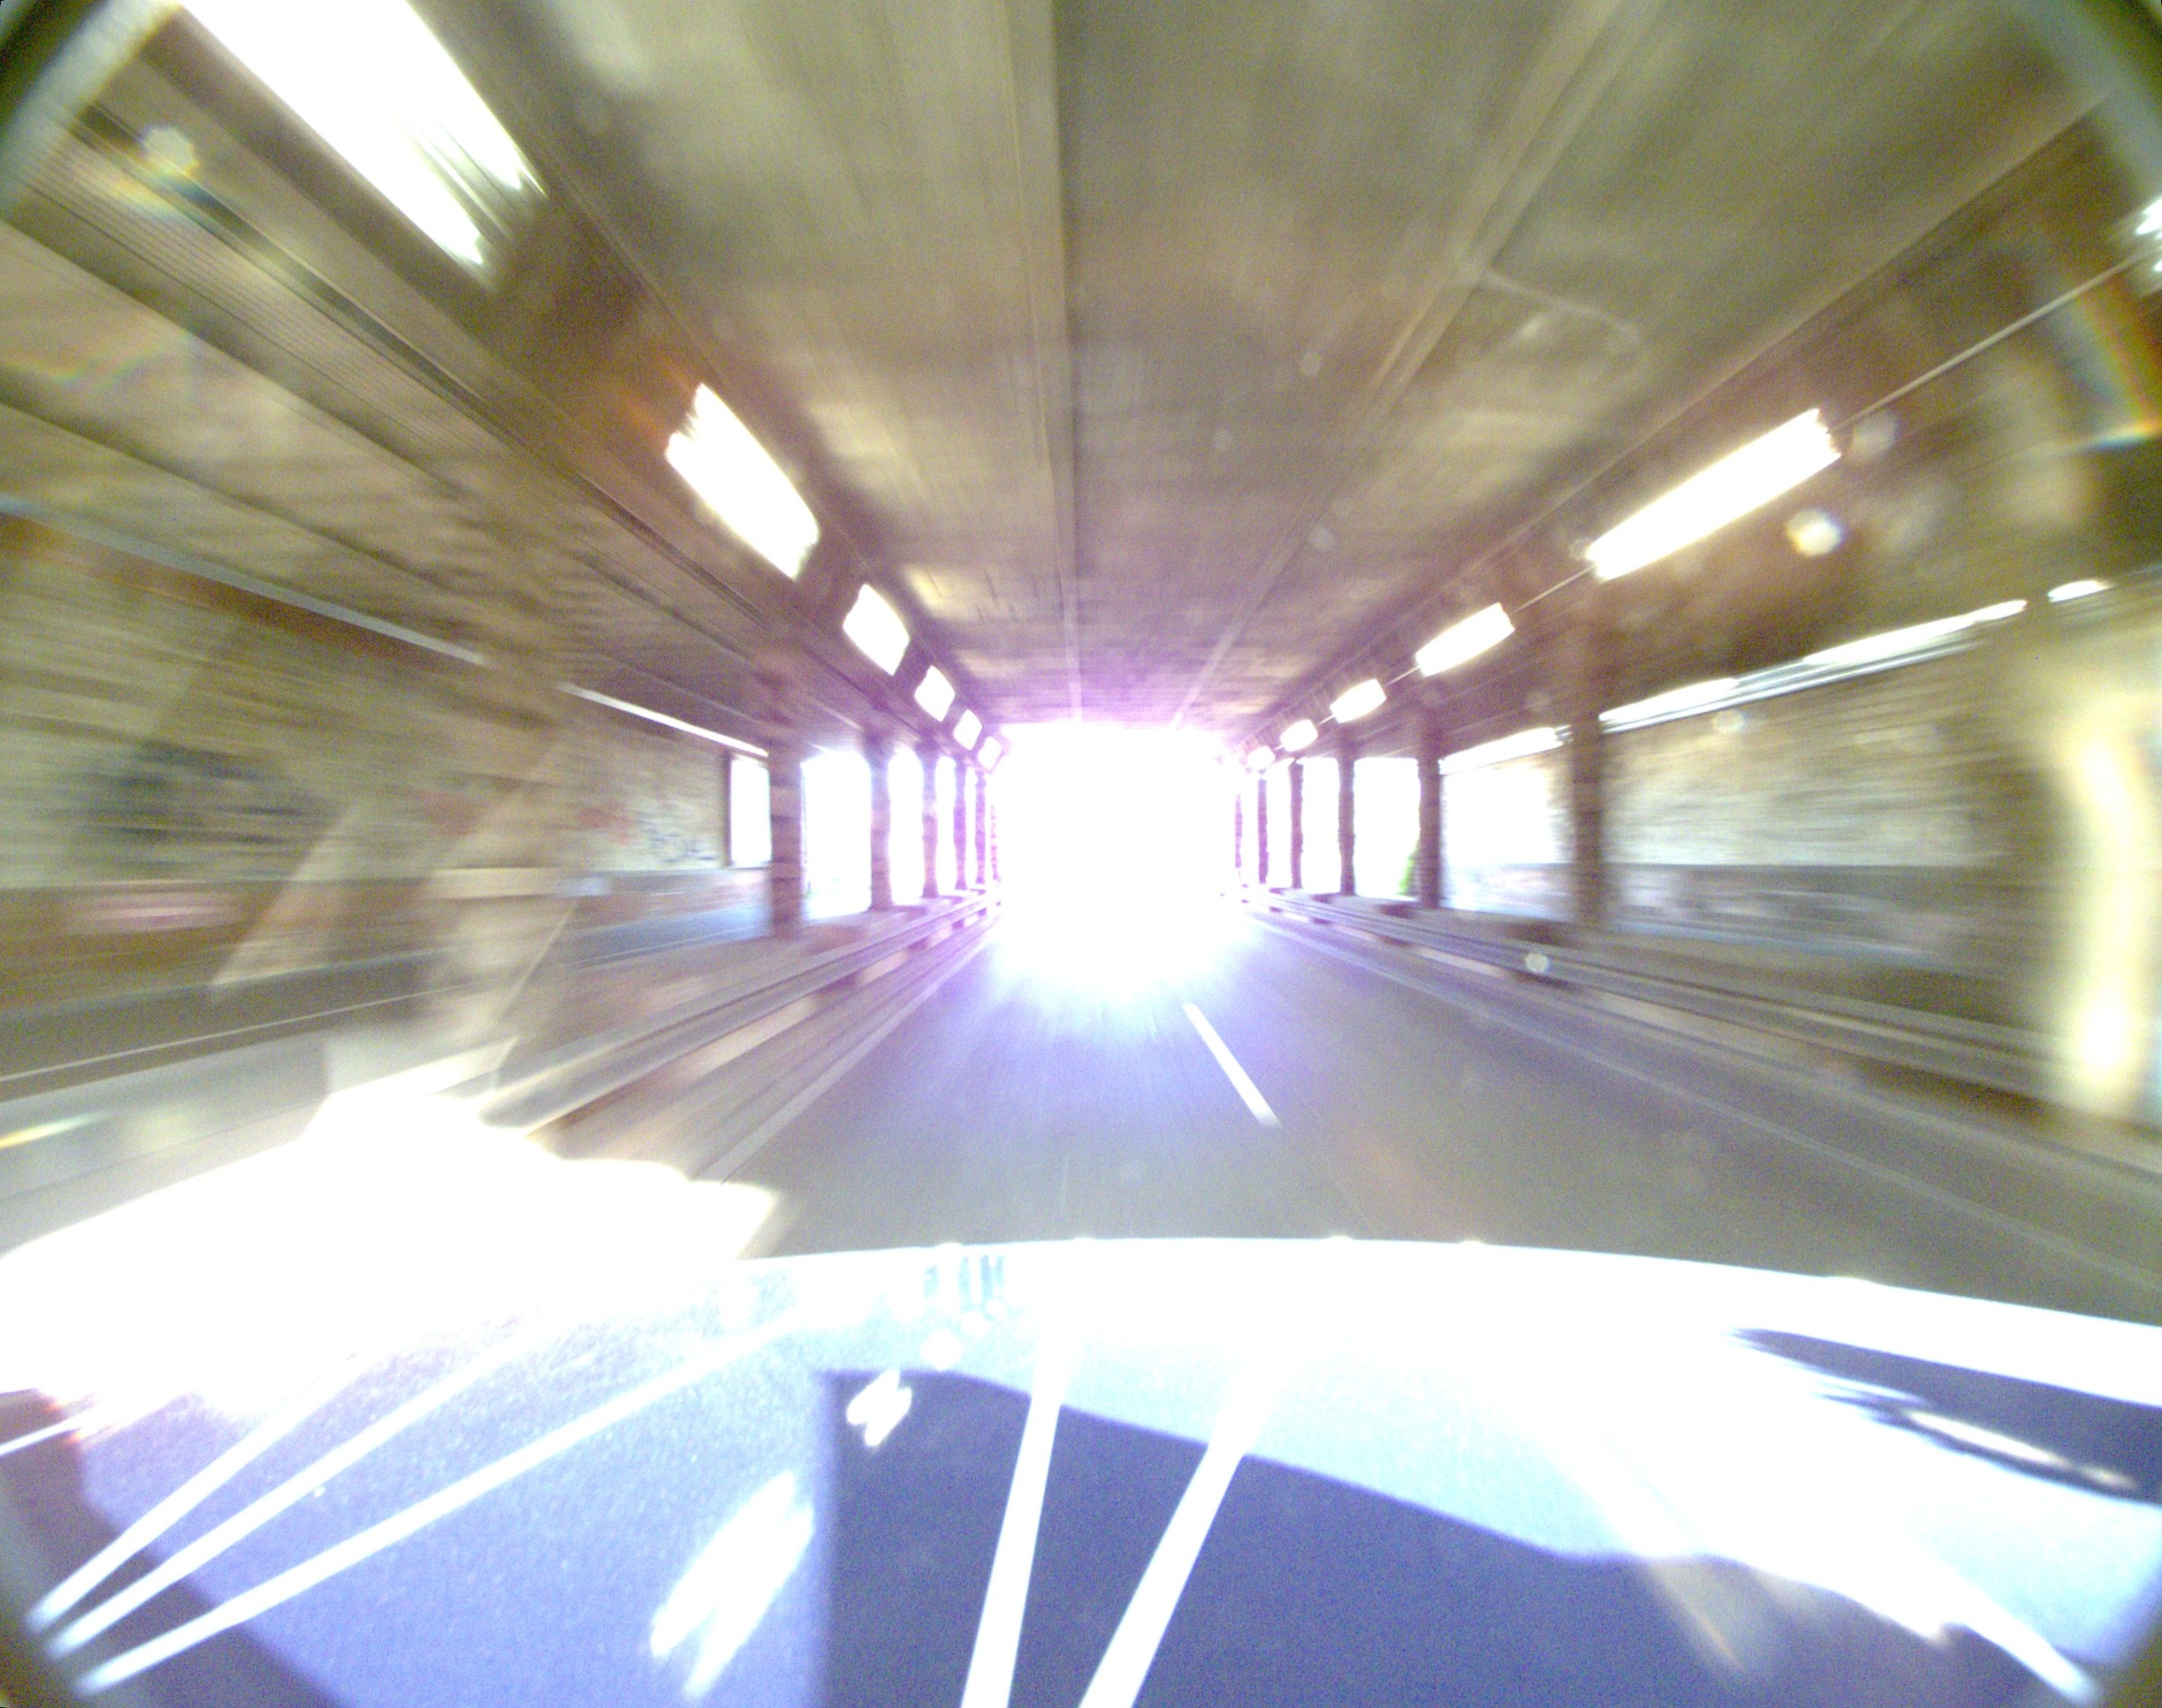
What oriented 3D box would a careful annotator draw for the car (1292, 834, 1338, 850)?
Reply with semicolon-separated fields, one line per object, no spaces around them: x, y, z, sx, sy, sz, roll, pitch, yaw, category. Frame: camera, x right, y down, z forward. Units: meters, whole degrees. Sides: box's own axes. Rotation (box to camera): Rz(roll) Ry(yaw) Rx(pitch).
22.755;-1.172;73.931;3.939;1.419;1.905;-2;2;-18;car

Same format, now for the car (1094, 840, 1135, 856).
3.610;-0.679;82.912;4.265;1.733;1.858;0;1;-6;car

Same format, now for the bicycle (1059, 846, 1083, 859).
-1.292;-0.181;96.439;2.948;1.607;0.908;-1;2;34;bicycle

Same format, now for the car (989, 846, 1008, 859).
-10.101;-0.165;93.342;1.890;1.502;4.272;-2;1;-2;car

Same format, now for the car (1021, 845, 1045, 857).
-7.072;-0.430;111.442;2.180;1.720;4.484;-2;1;-22;car

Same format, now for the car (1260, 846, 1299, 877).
10.816;0.372;41.387;1.953;1.509;4.391;-1;2;15;car

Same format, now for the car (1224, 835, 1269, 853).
16.375;-0.964;75.267;4.127;1.626;1.916;-3;2;-29;car

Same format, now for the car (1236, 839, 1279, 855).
19.297;-0.735;83.296;4.319;1.590;1.860;-2;1;6;car
